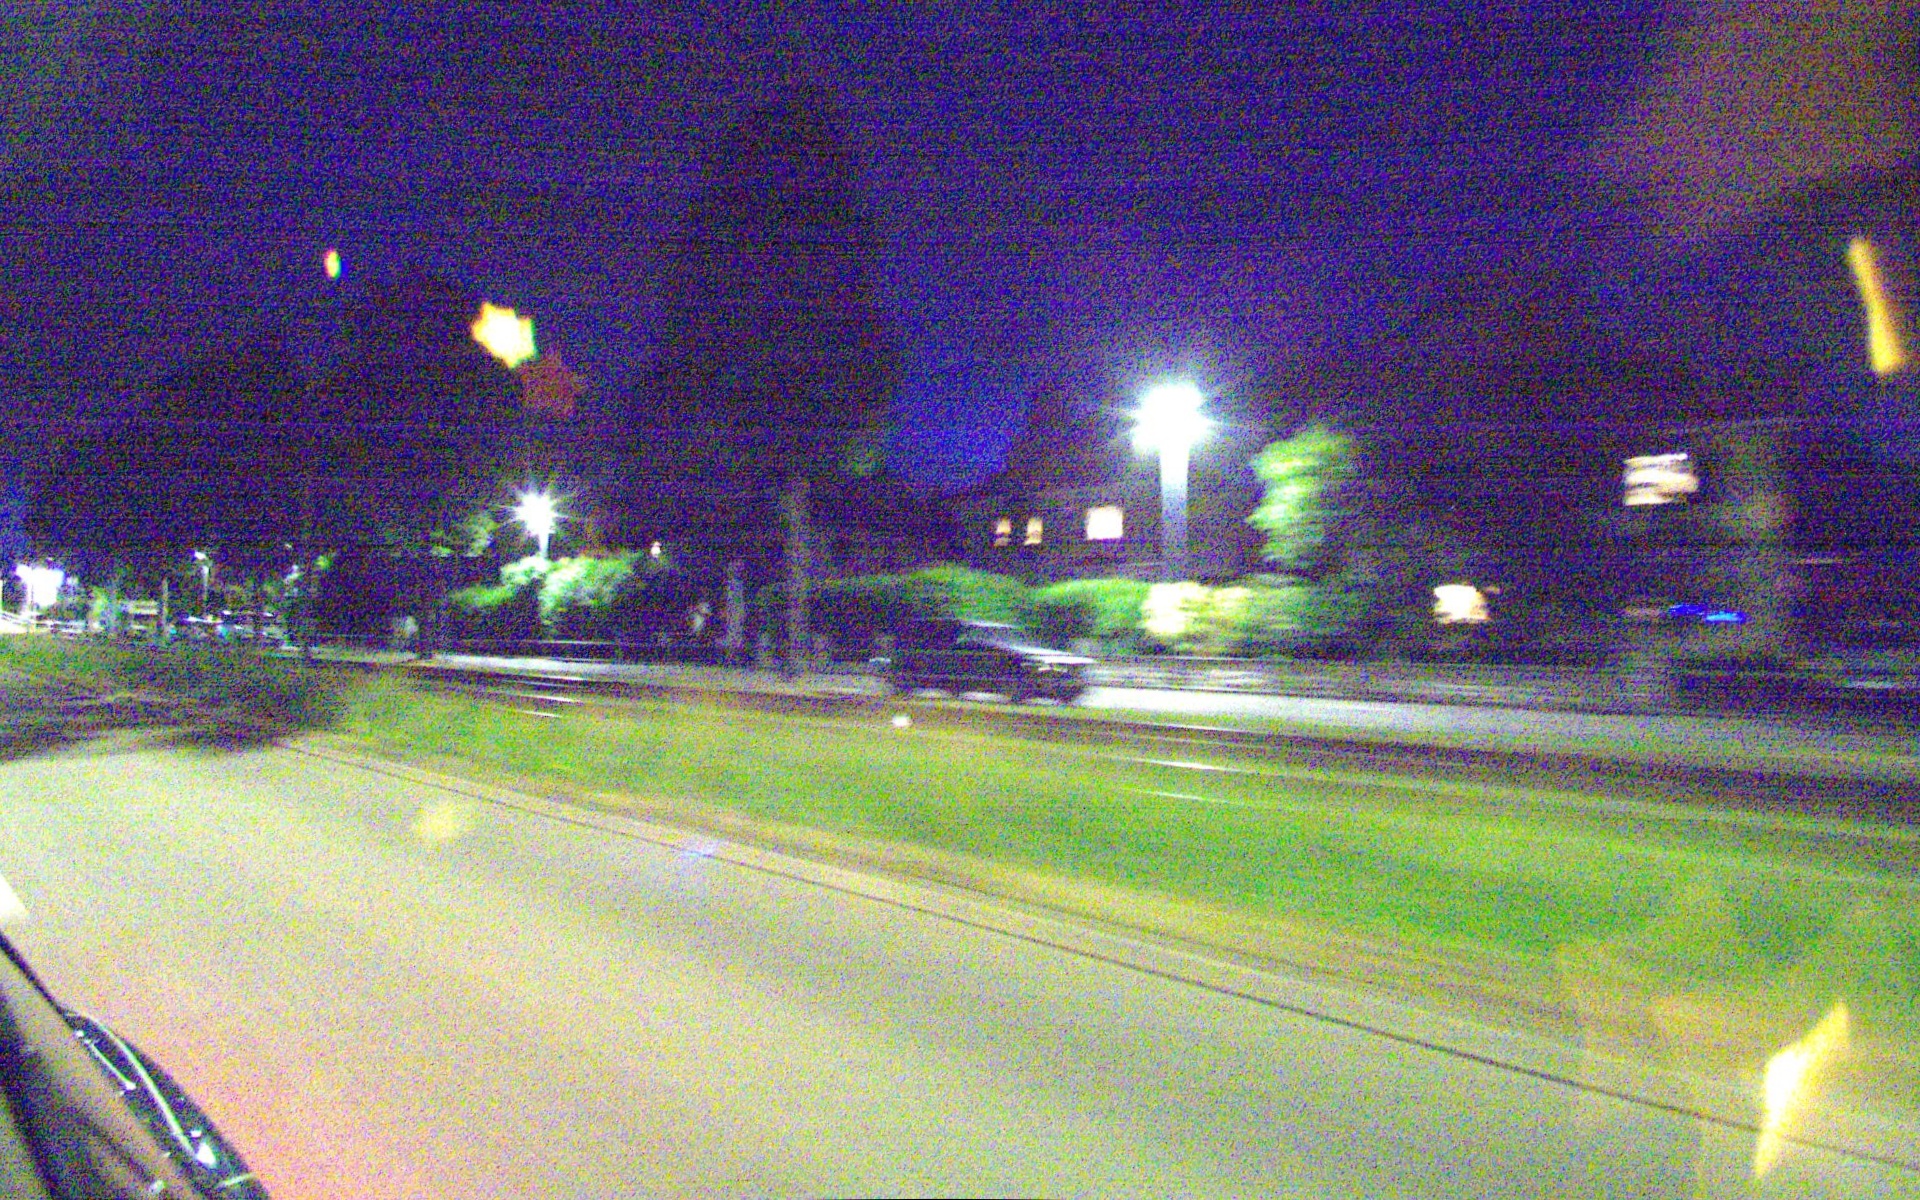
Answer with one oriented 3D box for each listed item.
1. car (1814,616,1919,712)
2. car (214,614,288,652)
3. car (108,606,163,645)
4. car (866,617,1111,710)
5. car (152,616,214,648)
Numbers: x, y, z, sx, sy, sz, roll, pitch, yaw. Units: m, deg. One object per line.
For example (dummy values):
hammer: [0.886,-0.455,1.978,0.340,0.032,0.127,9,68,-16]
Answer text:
car: [17.403,1.126,19.064,1.887,1.554,3.948,-1,0,39]
car: [-36.007,1.677,51.353,4.721,1.784,2.096,-1,-4,44]
car: [-56.082,1.736,68.811,4.721,2.532,2.135,-1,-4,44]
car: [0.454,1.217,19.650,4.691,1.580,1.745,-2,-6,41]
car: [-45.984,1.887,59.843,4.721,1.784,2.096,-1,-4,44]
